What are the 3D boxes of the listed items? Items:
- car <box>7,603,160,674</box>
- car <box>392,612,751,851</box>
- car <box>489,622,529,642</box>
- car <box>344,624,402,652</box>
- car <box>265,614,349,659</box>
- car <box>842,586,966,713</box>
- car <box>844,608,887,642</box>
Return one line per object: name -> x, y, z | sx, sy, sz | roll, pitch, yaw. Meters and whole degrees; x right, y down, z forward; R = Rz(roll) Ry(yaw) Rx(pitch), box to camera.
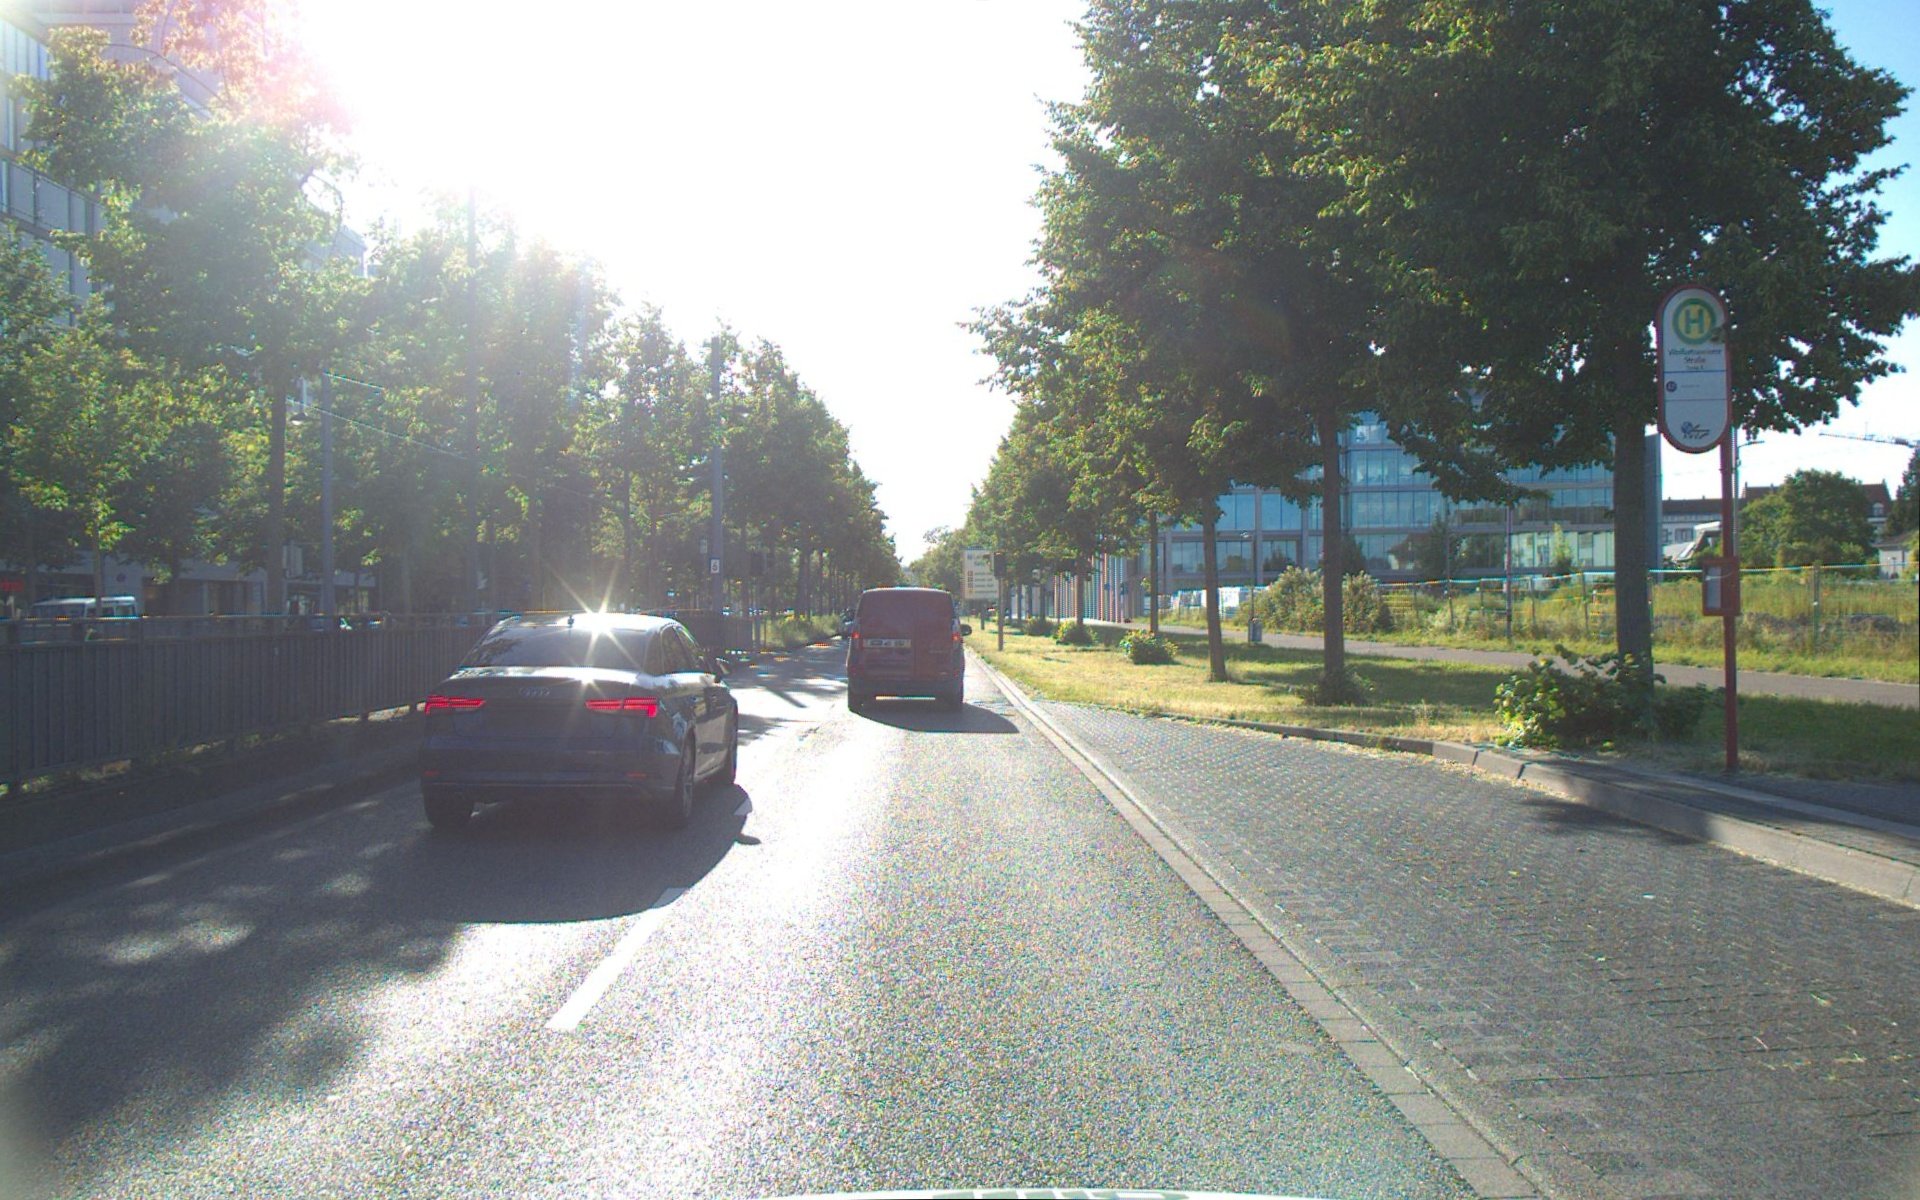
car -> -23.634, 1.022, 44.792 | 1.953, 1.780, 4.226 | -1, -1, -2
car -> -2.620, 0.815, 12.123 | 1.686, 1.390, 4.145 | 1, 0, -1
car -> -32.872, 2.313, 120.626 | 1.680, 1.445, 4.544 | -1, 0, -1
car -> -32.815, 2.112, 92.546 | 1.634, 1.444, 4.803 | -1, 0, -2
car -> -23.551, 1.299, 59.814 | 1.645, 1.547, 3.699 | -1, 0, -2
car -> -0.904, 0.738, 25.783 | 1.762, 1.808, 3.997 | 0, -1, -3
car -> -4.350, 1.132, 76.005 | 1.904, 1.466, 3.997 | -1, 0, -3
